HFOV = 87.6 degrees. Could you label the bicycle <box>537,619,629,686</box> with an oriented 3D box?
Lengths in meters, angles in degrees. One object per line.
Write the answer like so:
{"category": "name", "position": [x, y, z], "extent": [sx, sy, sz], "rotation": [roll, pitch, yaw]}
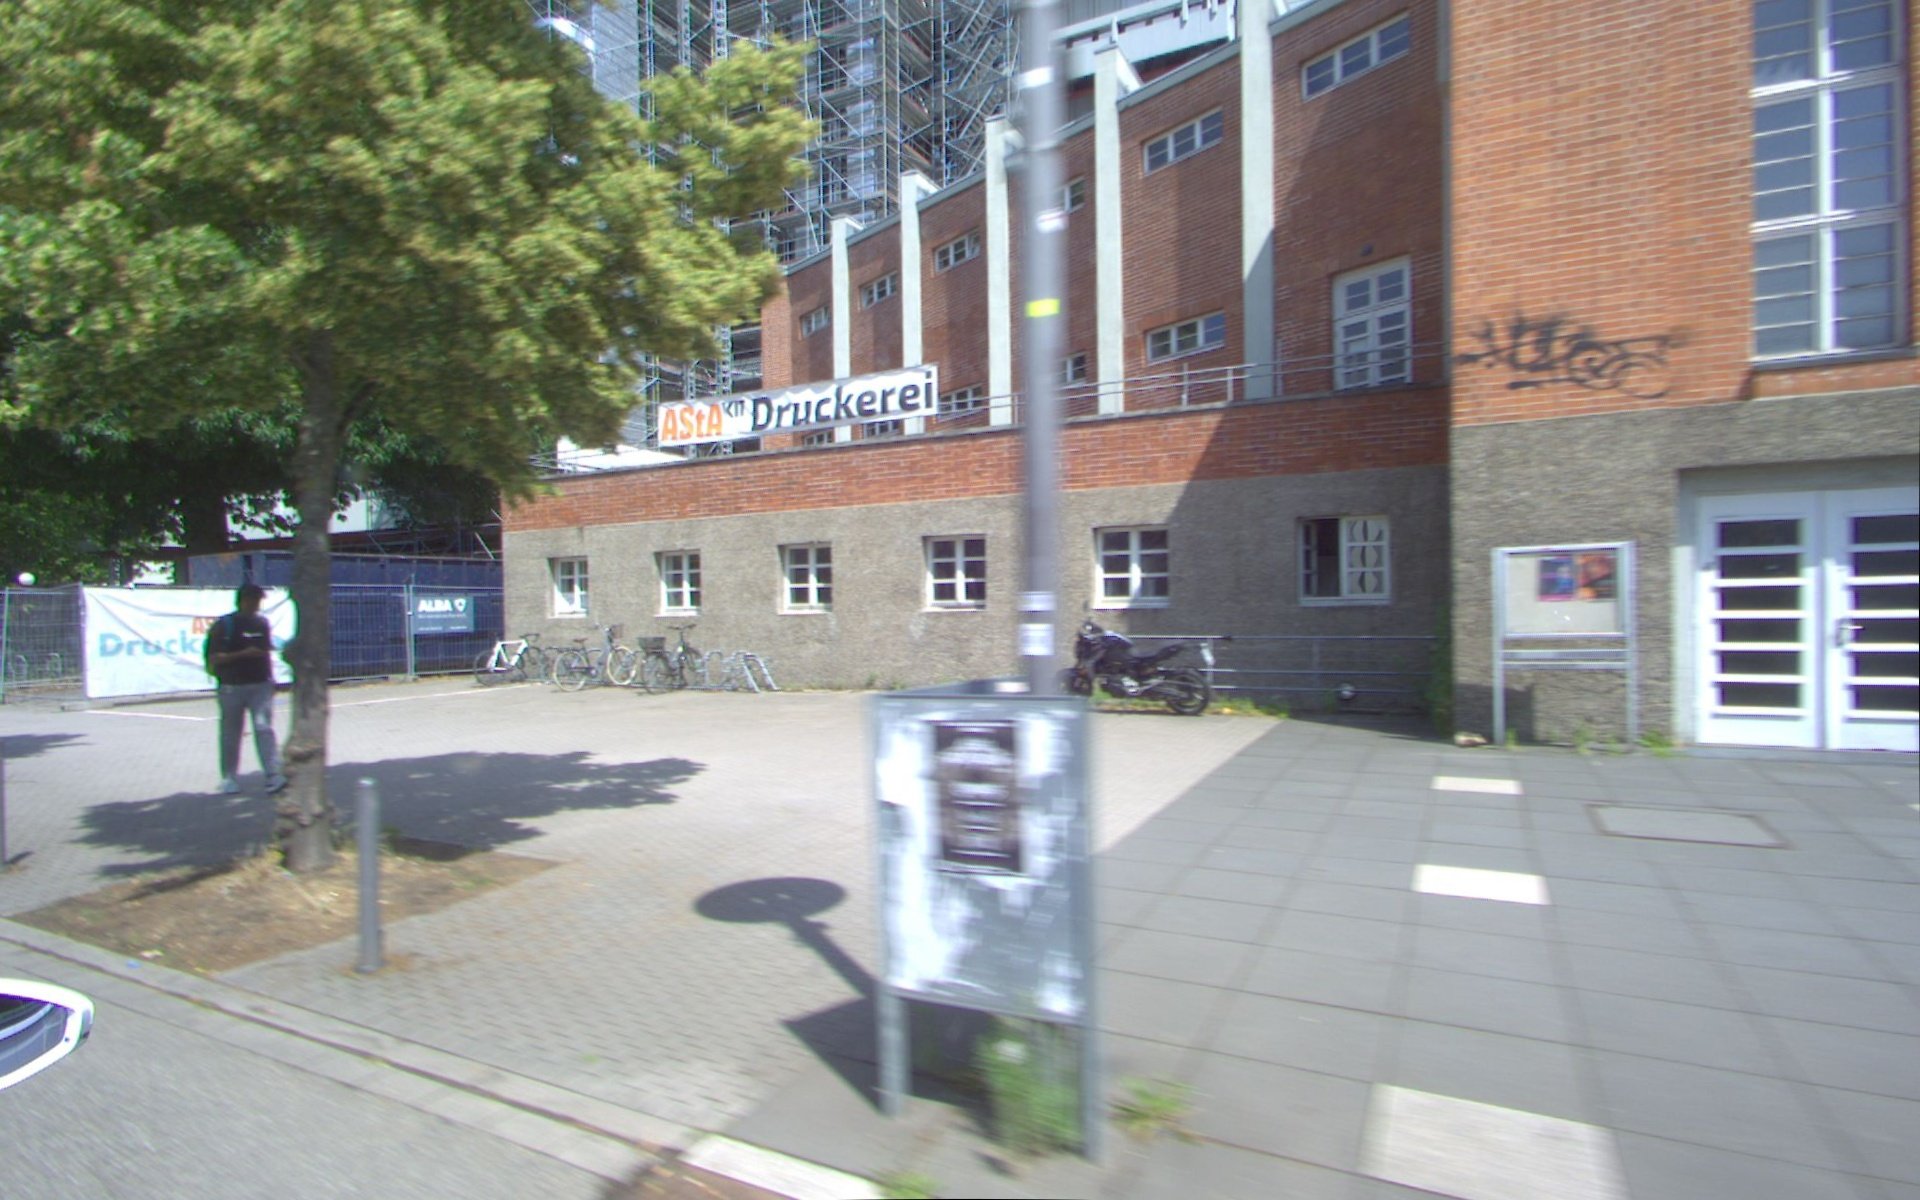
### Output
{"category": "bicycle", "position": [-6.783, 0.923, 18.093], "extent": [0.441, 1.124, 1.700], "rotation": [0, 0, 28]}

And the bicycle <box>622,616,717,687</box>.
{"category": "bicycle", "position": [-4.957, 0.854, 17.215], "extent": [0.441, 1.124, 1.804], "rotation": [0, 0, 28]}

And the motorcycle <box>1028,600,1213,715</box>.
{"category": "motorcycle", "position": [1.981, 0.683, 12.496], "extent": [2.186, 1.341, 0.695], "rotation": [0, 0, 30]}

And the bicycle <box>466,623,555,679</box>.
{"category": "bicycle", "position": [-8.697, 0.966, 19.438], "extent": [0.441, 1.016, 1.670], "rotation": [0, 0, 28]}

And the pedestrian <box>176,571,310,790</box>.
{"category": "pedestrian", "position": [-5.955, 0.638, 8.326], "extent": [0.781, 1.719, 0.640], "rotation": [0, 1, 32]}
